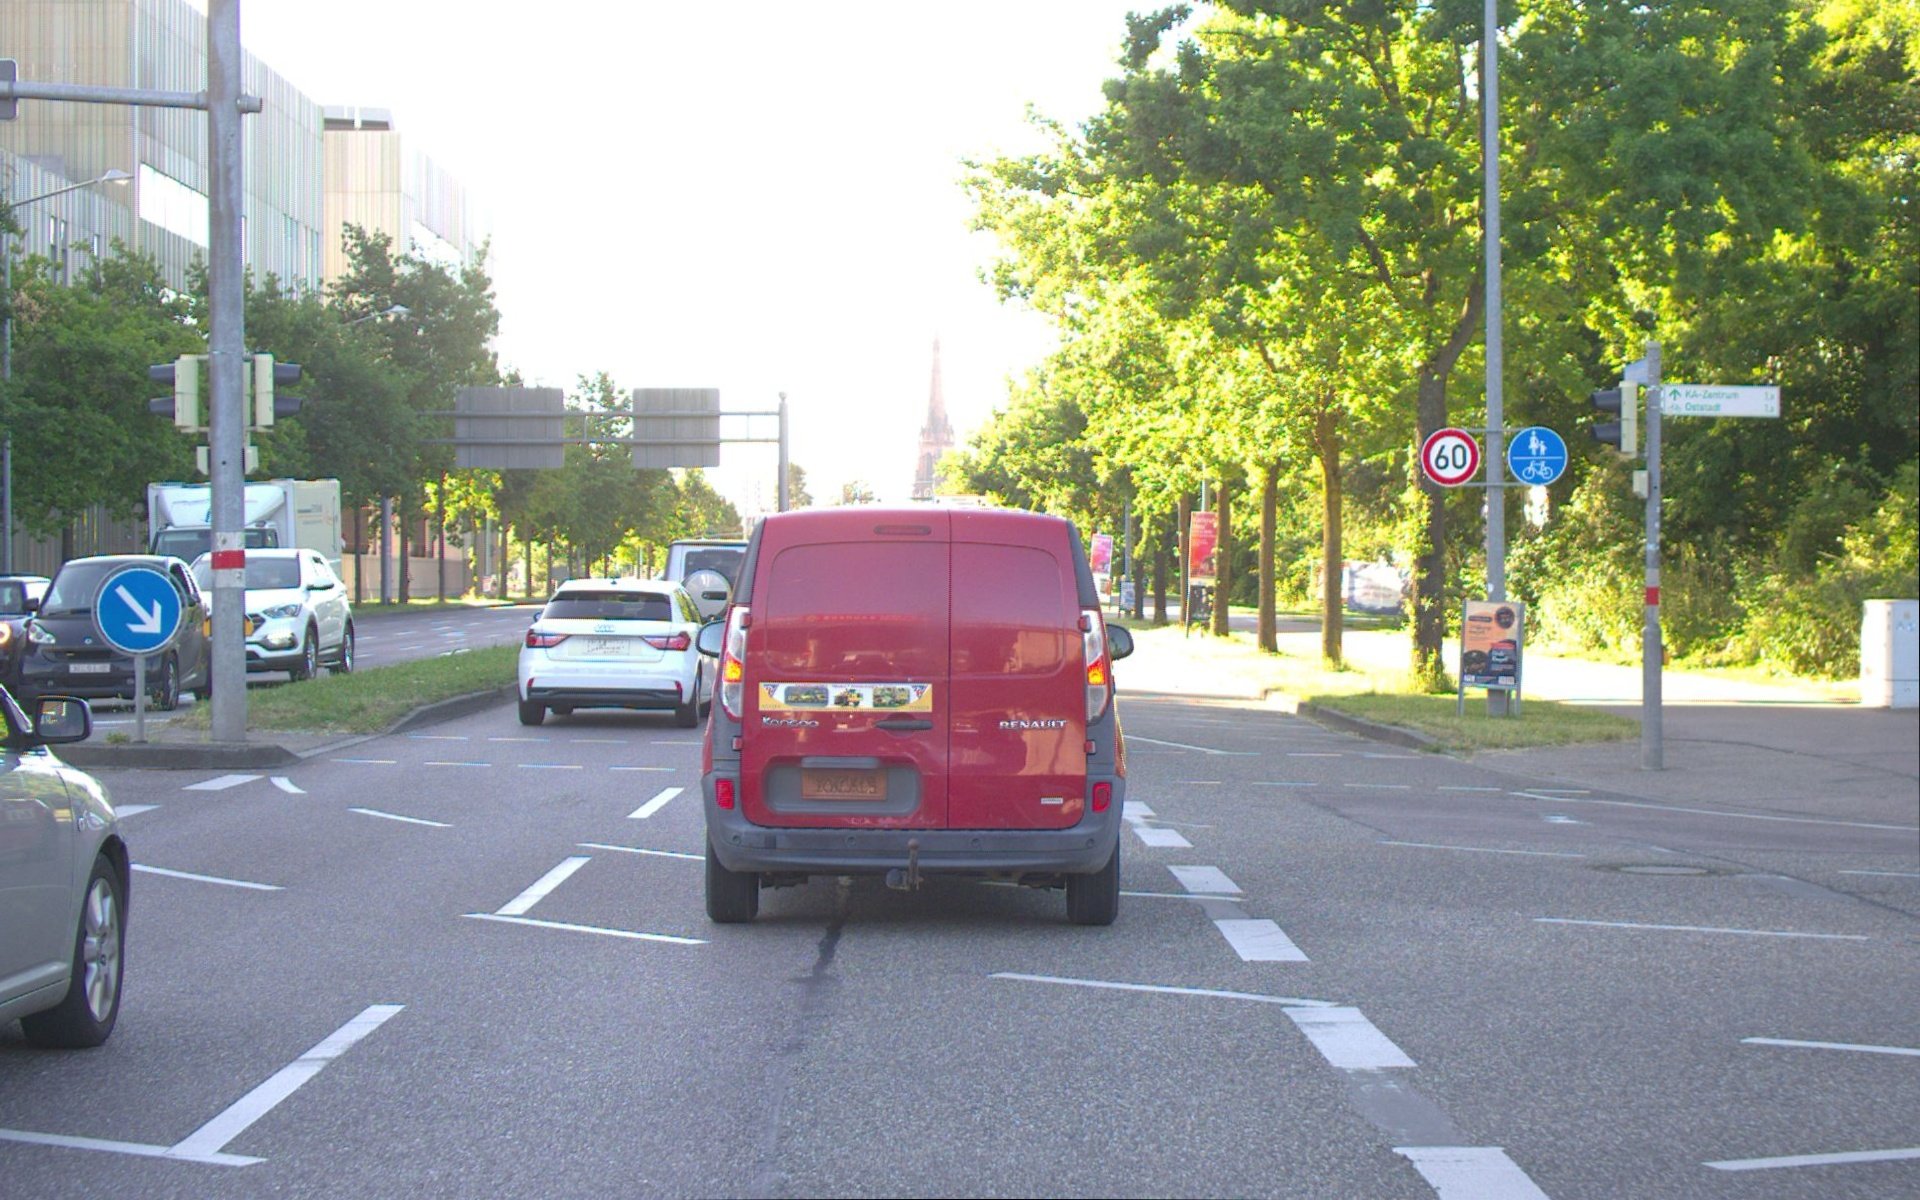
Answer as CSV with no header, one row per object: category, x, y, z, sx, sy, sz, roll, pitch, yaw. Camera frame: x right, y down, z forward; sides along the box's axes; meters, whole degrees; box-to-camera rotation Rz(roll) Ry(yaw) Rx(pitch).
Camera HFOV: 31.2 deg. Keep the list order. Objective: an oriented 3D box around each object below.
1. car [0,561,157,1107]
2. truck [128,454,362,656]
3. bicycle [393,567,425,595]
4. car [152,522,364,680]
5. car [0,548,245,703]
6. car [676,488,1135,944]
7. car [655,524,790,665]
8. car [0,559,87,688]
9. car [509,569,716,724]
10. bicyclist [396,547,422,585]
car,-3.454,0.627,8.880,1.733,1.475,4.319,0,0,0
truck,-11.540,-0.688,56.018,2.409,3.016,6.657,-2,0,-1
bicycle,-25.251,-0.861,157.498,0.909,1.195,3.300,1,-1,0
car,-8.549,0.010,42.155,1.757,1.790,4.083,-2,0,-1
car,-8.517,0.246,35.170,1.636,1.438,3.719,-2,0,-1
car,-0.145,0.451,15.752,1.805,1.788,4.000,1,0,2
car,-3.499,-0.037,51.304,1.801,1.982,4.589,1,-1,-2
car,-11.551,0.288,40.470,1.636,1.438,4.077,-2,0,-3
car,-3.389,0.425,34.071,1.813,1.433,3.731,1,0,-3
bicyclist,-25.244,-1.545,157.509,0.909,1.680,1.409,1,-1,0
